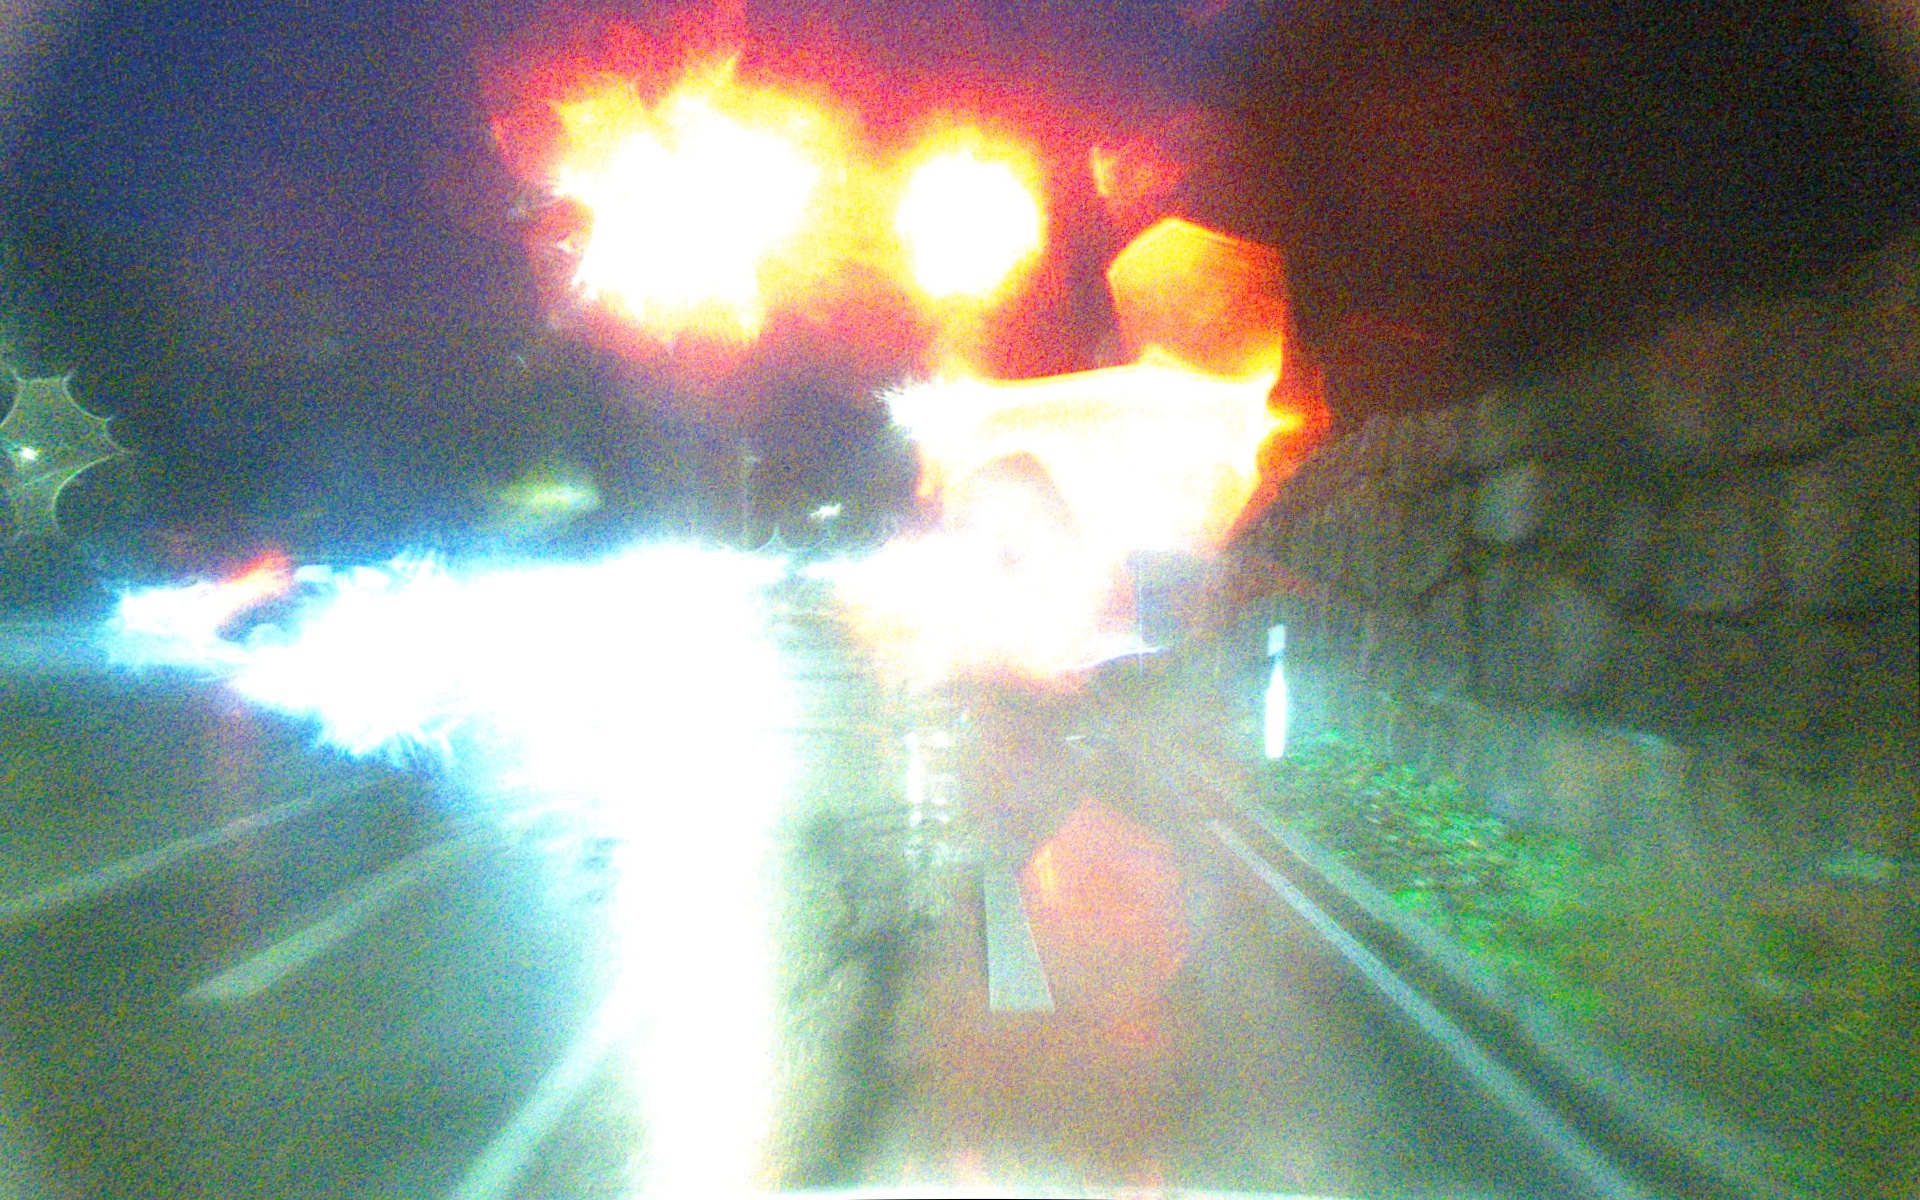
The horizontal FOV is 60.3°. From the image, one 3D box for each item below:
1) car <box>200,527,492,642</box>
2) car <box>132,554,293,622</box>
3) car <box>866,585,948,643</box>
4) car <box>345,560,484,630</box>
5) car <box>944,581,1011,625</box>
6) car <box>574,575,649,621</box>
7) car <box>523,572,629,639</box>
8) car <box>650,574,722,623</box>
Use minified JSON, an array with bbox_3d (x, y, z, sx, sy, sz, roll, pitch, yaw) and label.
[{"bbox_3d":[-9.359,-0.204,25.402,4.030,1.639,1.988,1,0,-21],"label":"car"},{"bbox_3d":[-21.302,-0.352,47.189,3.957,1.863,1.699,-1,1,-37],"label":"car"},{"bbox_3d":[-1.368,0.370,44.452,2.060,1.464,4.000,1,0,0],"label":"car"},{"bbox_3d":[-13.297,-0.136,40.635,1.755,1.599,4.914,1,1,0],"label":"car"},{"bbox_3d":[0.548,0.104,53.779,2.063,1.363,4.294,1,0,0],"label":"car"},{"bbox_3d":[-12.452,-0.050,59.252,1.953,1.557,3.998,1,0,-2],"label":"car"},{"bbox_3d":[-9.794,0.109,42.482,1.664,1.599,4.711,1,1,-1],"label":"car"},{"bbox_3d":[-9.117,-0.034,55.279,1.552,1.552,3.654,1,0,4],"label":"car"}]
